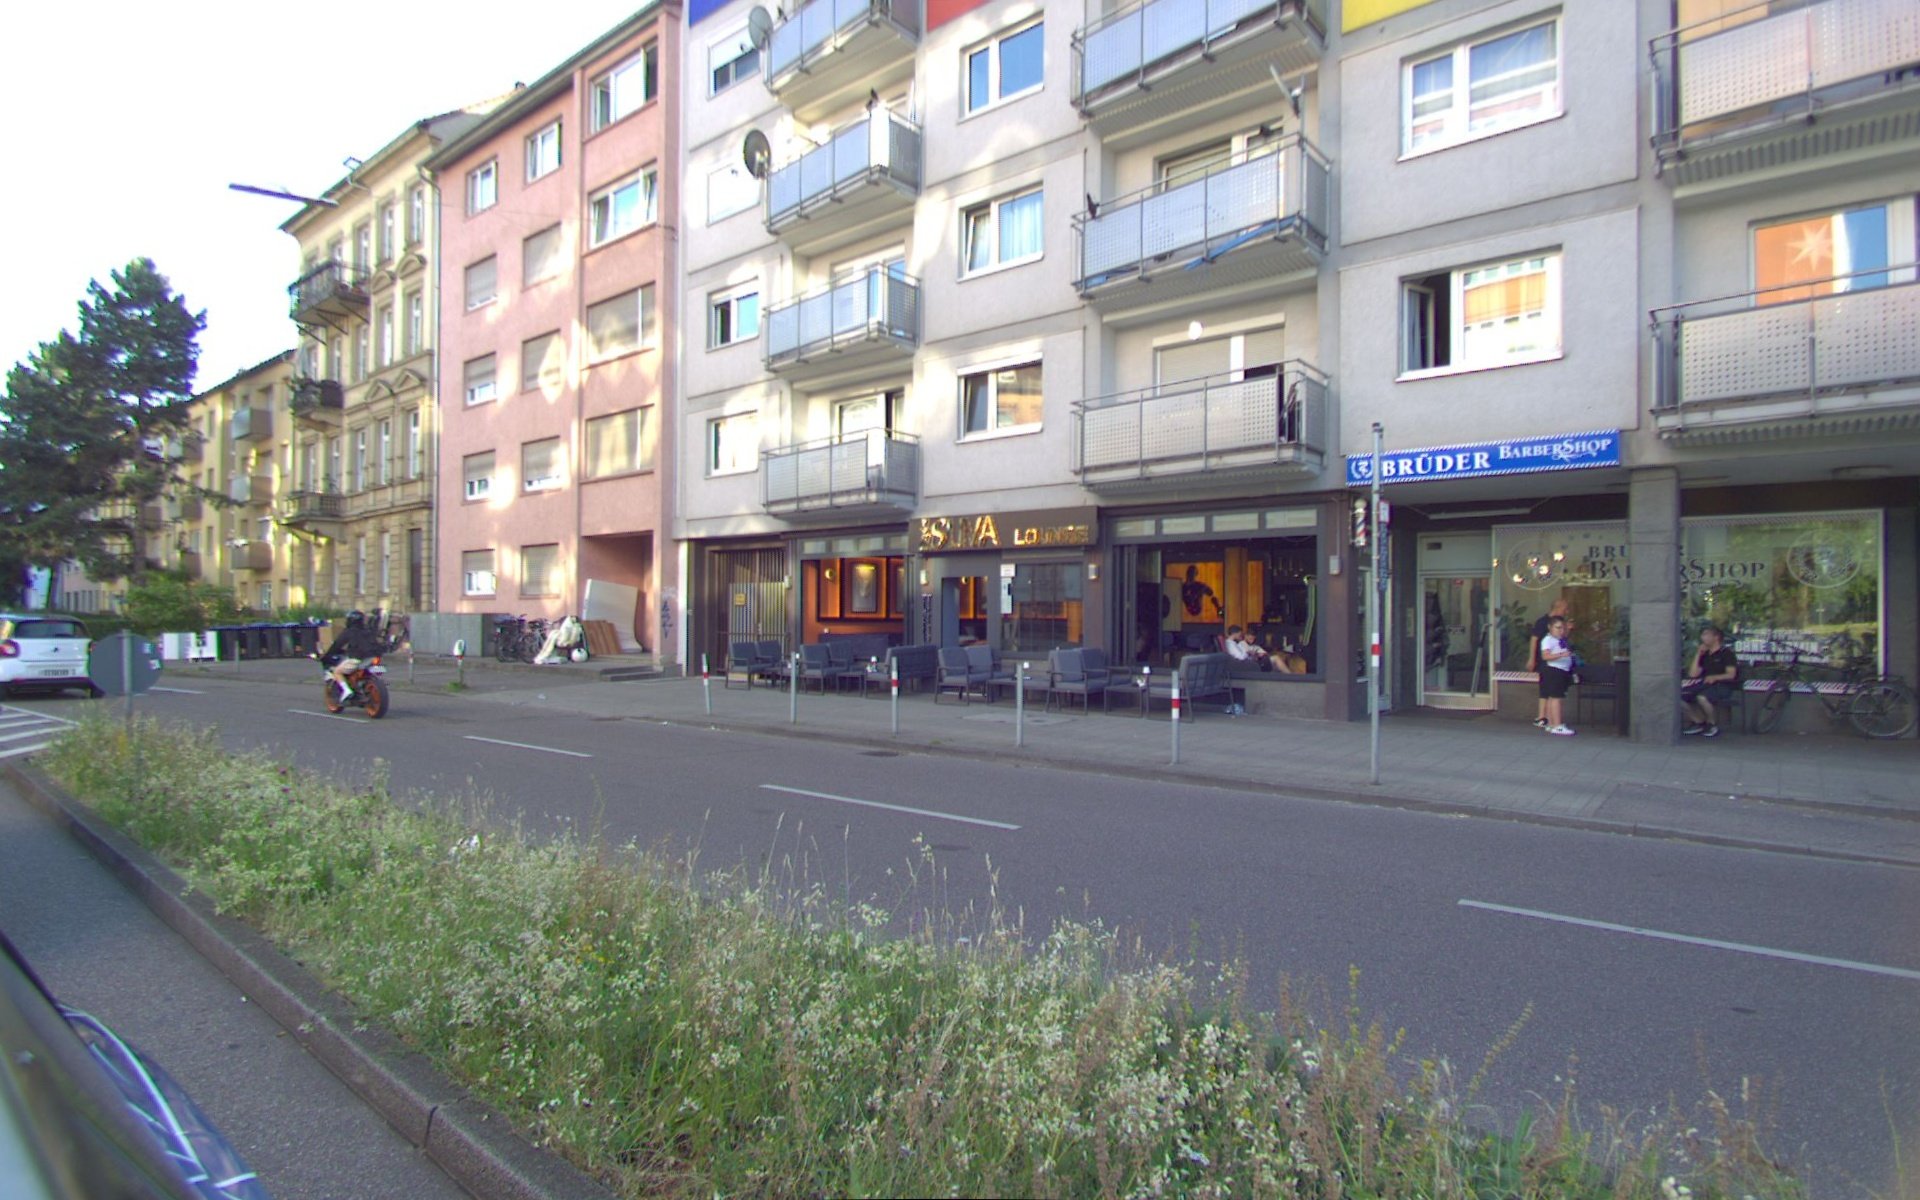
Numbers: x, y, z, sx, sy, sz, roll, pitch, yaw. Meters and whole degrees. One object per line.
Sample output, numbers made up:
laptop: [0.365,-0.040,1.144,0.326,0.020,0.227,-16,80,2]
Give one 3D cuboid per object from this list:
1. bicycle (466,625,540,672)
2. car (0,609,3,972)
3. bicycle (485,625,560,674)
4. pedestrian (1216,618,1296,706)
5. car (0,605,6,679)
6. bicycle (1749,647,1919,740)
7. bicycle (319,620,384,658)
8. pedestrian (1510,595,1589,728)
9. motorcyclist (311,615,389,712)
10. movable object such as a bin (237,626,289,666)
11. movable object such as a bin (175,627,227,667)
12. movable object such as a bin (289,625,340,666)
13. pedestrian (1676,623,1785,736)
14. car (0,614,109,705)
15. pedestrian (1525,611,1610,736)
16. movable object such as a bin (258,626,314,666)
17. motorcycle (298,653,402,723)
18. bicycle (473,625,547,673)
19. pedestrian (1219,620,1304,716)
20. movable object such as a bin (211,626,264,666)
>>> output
bicycle: [-12.096,1.260,26.825,0.473,1.200,1.758,-1,-2,38]
car: [-6.066,0.799,4.857,4.267,1.470,1.748,-1,0,41]
bicycle: [-11.164,1.242,25.895,0.473,1.200,1.758,-1,-2,38]
pedestrian: [4.756,0.965,16.257,0.974,1.357,0.871,-1,-2,40]
car: [-26.423,1.042,25.872,4.686,1.868,1.875,-1,-2,33]
bicycle: [10.453,1.078,11.966,1.691,1.006,0.620,0,-1,32]
bicycle: [-19.551,1.243,32.543,0.473,1.200,1.758,-1,-2,38]
pedestrian: [7.635,0.780,13.137,0.650,1.685,0.625,0,-1,5]
motorcyclist: [-9.504,0.974,15.769,0.957,1.452,0.741,-1,-3,39]
movable object such as a bin: [-22.355,1.457,32.487,0.837,1.242,1.193,0,-1,0]
movable object such as a bin: [-24.148,1.480,32.211,0.836,1.242,1.195,0,-1,-8]
movable object such as a bin: [-20.499,1.435,32.154,0.837,1.242,1.193,0,-1,0]
pedestrian: [9.274,0.939,12.202,0.798,1.323,0.626,0,-1,-3]
car: [-17.539,1.060,18.920,3.395,1.554,1.578,-1,-2,34]
pedestrian: [7.364,0.876,12.284,0.650,1.478,0.625,0,-1,5]
movable object such as a bin: [-21.428,1.444,32.204,0.916,1.242,1.292,0,-1,0]
motorcycle: [-9.518,1.340,15.756,2.046,0.970,0.741,-1,-2,40]
bicycle: [-11.707,1.256,26.388,0.473,1.200,1.758,-1,-2,38]
pedestrian: [4.456,0.969,14.943,0.882,1.357,0.961,-1,-2,40]
movable object such as a bin: [-23.225,1.468,32.545,0.837,1.242,1.193,0,-1,0]
